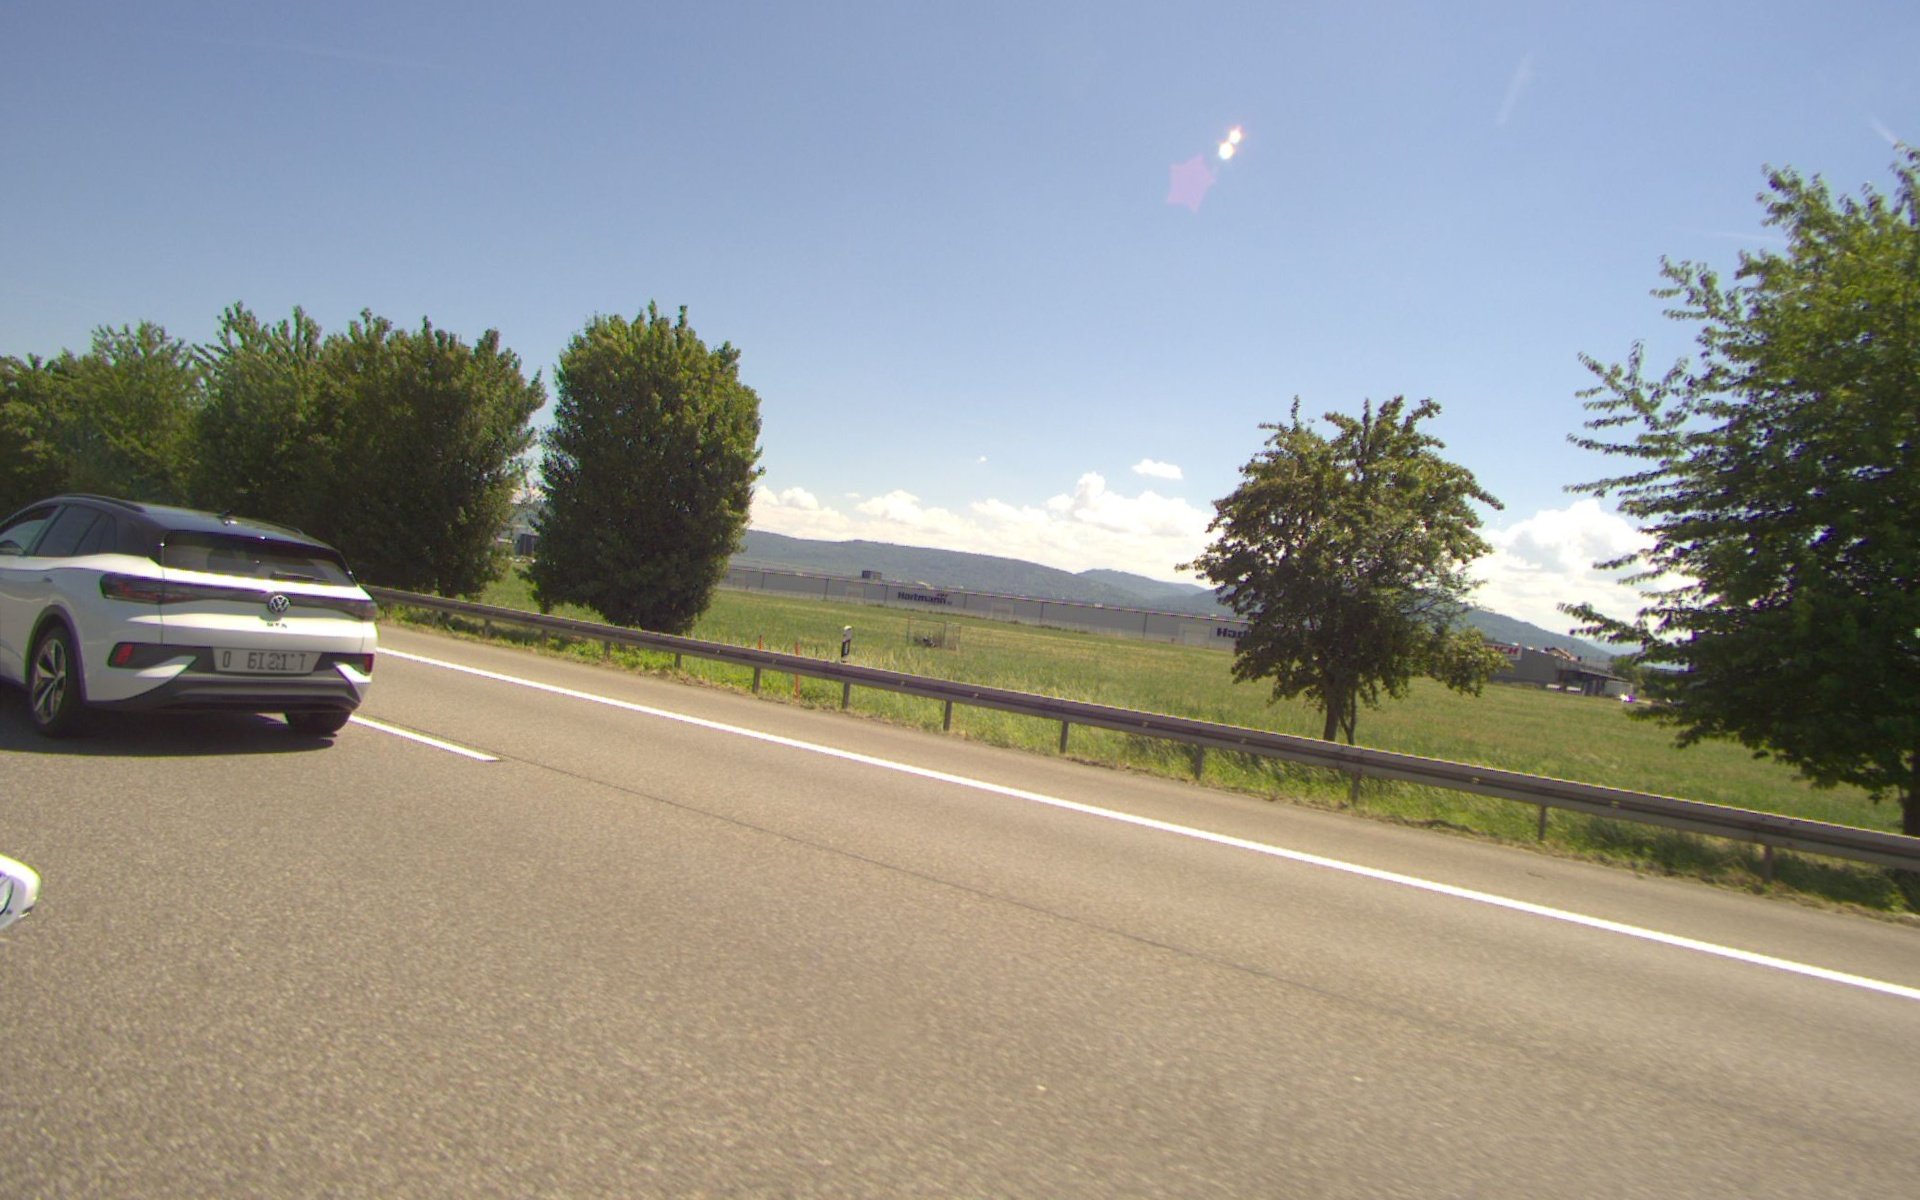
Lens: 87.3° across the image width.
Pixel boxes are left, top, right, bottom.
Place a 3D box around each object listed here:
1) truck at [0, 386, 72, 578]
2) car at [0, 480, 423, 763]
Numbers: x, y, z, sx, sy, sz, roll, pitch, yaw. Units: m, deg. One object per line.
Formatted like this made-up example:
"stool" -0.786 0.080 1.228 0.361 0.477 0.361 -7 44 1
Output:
"truck" -28.329 -3.492 26.330 15.255 4.187 3.115 7 -2 32
"car" -6.432 0.050 7.933 4.308 1.621 1.806 7 -2 31
